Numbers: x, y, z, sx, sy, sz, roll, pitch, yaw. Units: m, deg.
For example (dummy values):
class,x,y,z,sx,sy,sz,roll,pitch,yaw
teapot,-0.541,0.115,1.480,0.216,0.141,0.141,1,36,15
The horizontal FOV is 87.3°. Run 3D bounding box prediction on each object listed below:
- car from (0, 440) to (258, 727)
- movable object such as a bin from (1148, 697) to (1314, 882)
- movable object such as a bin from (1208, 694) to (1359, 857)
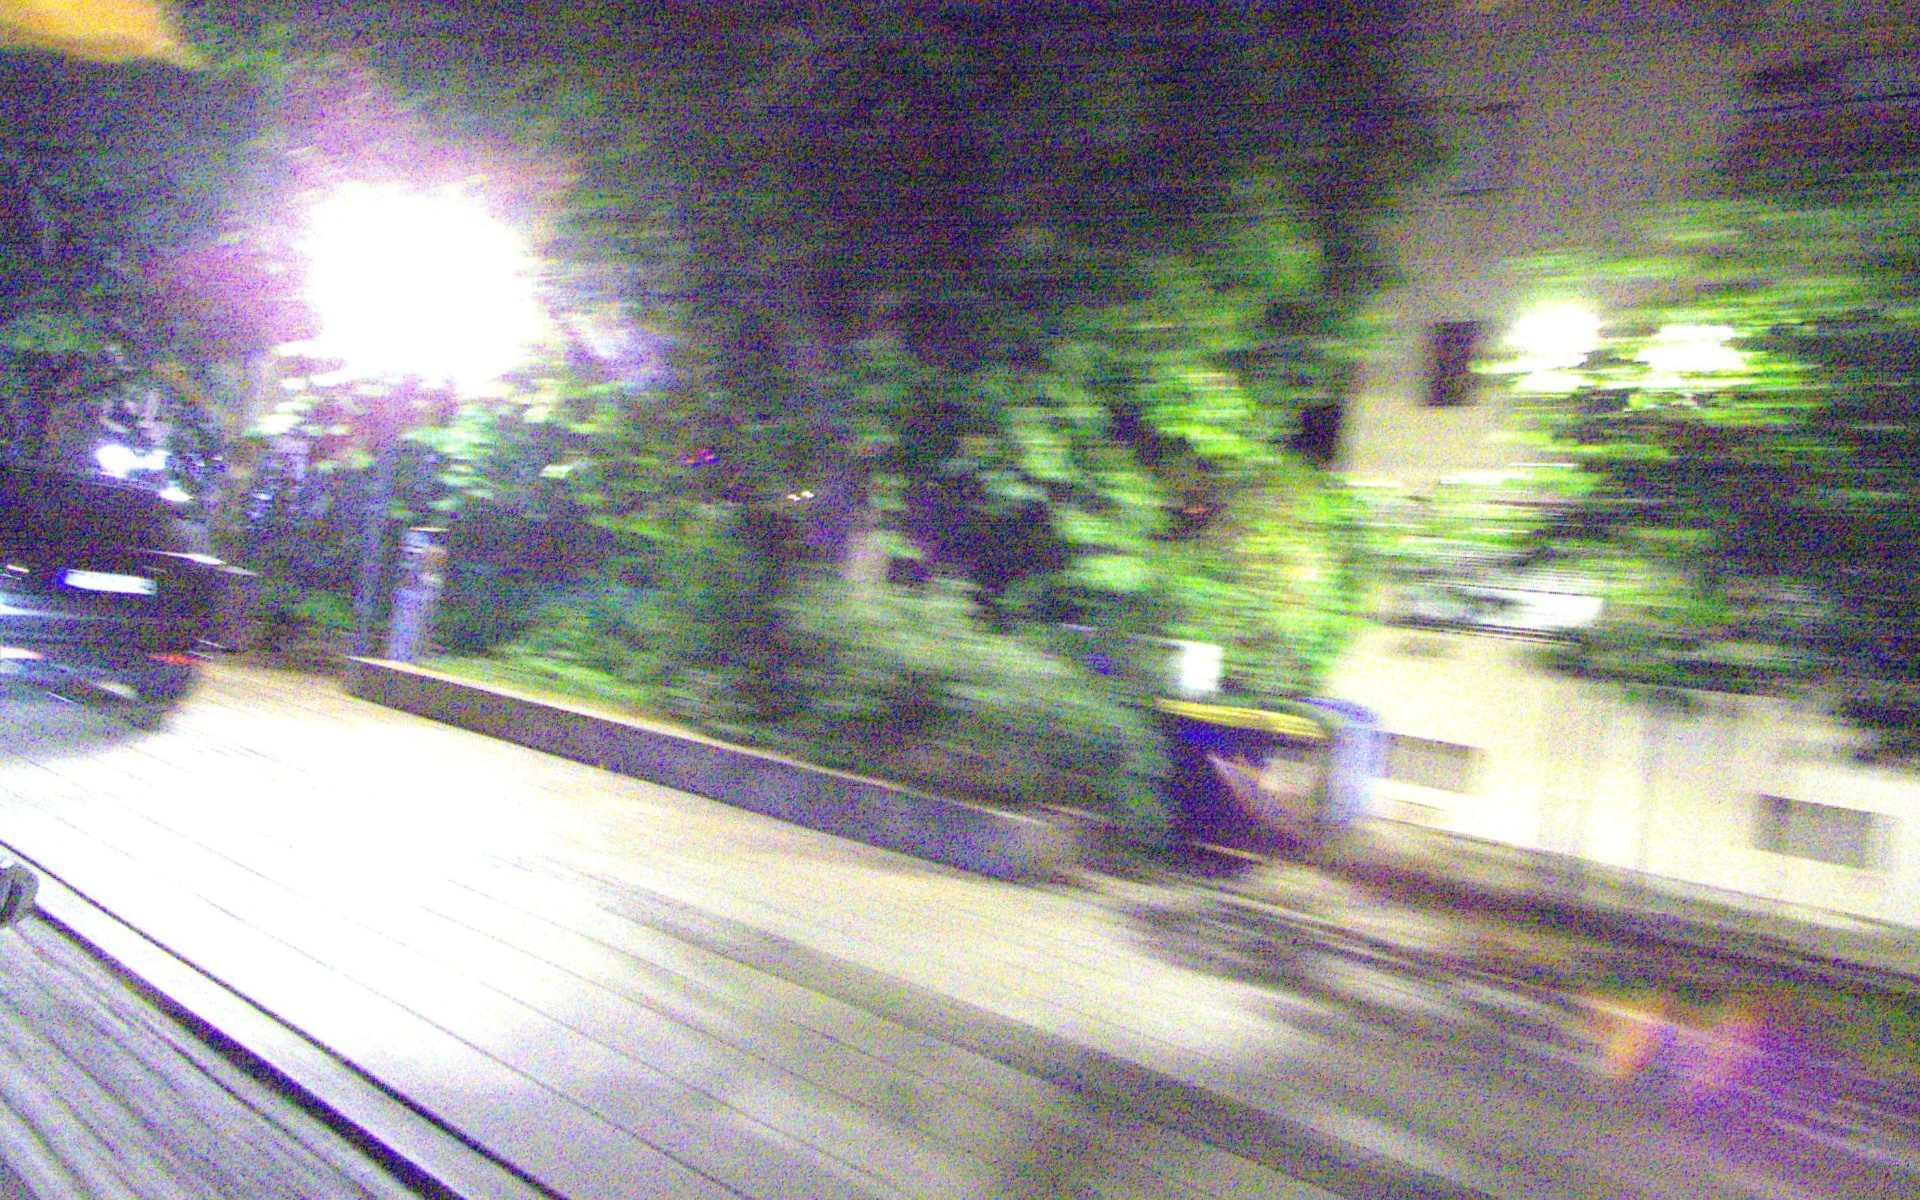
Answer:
class,x,y,z,sx,sy,sz,roll,pitch,yaw
car,-7.801,-0.252,8.048,4.274,1.849,1.819,7,-2,31
movable object such as a bin,2.361,1.596,8.682,0.993,1.320,1.108,7,-4,30
movable object such as a bin,3.411,1.789,10.554,1.099,1.436,1.263,6,-2,32
